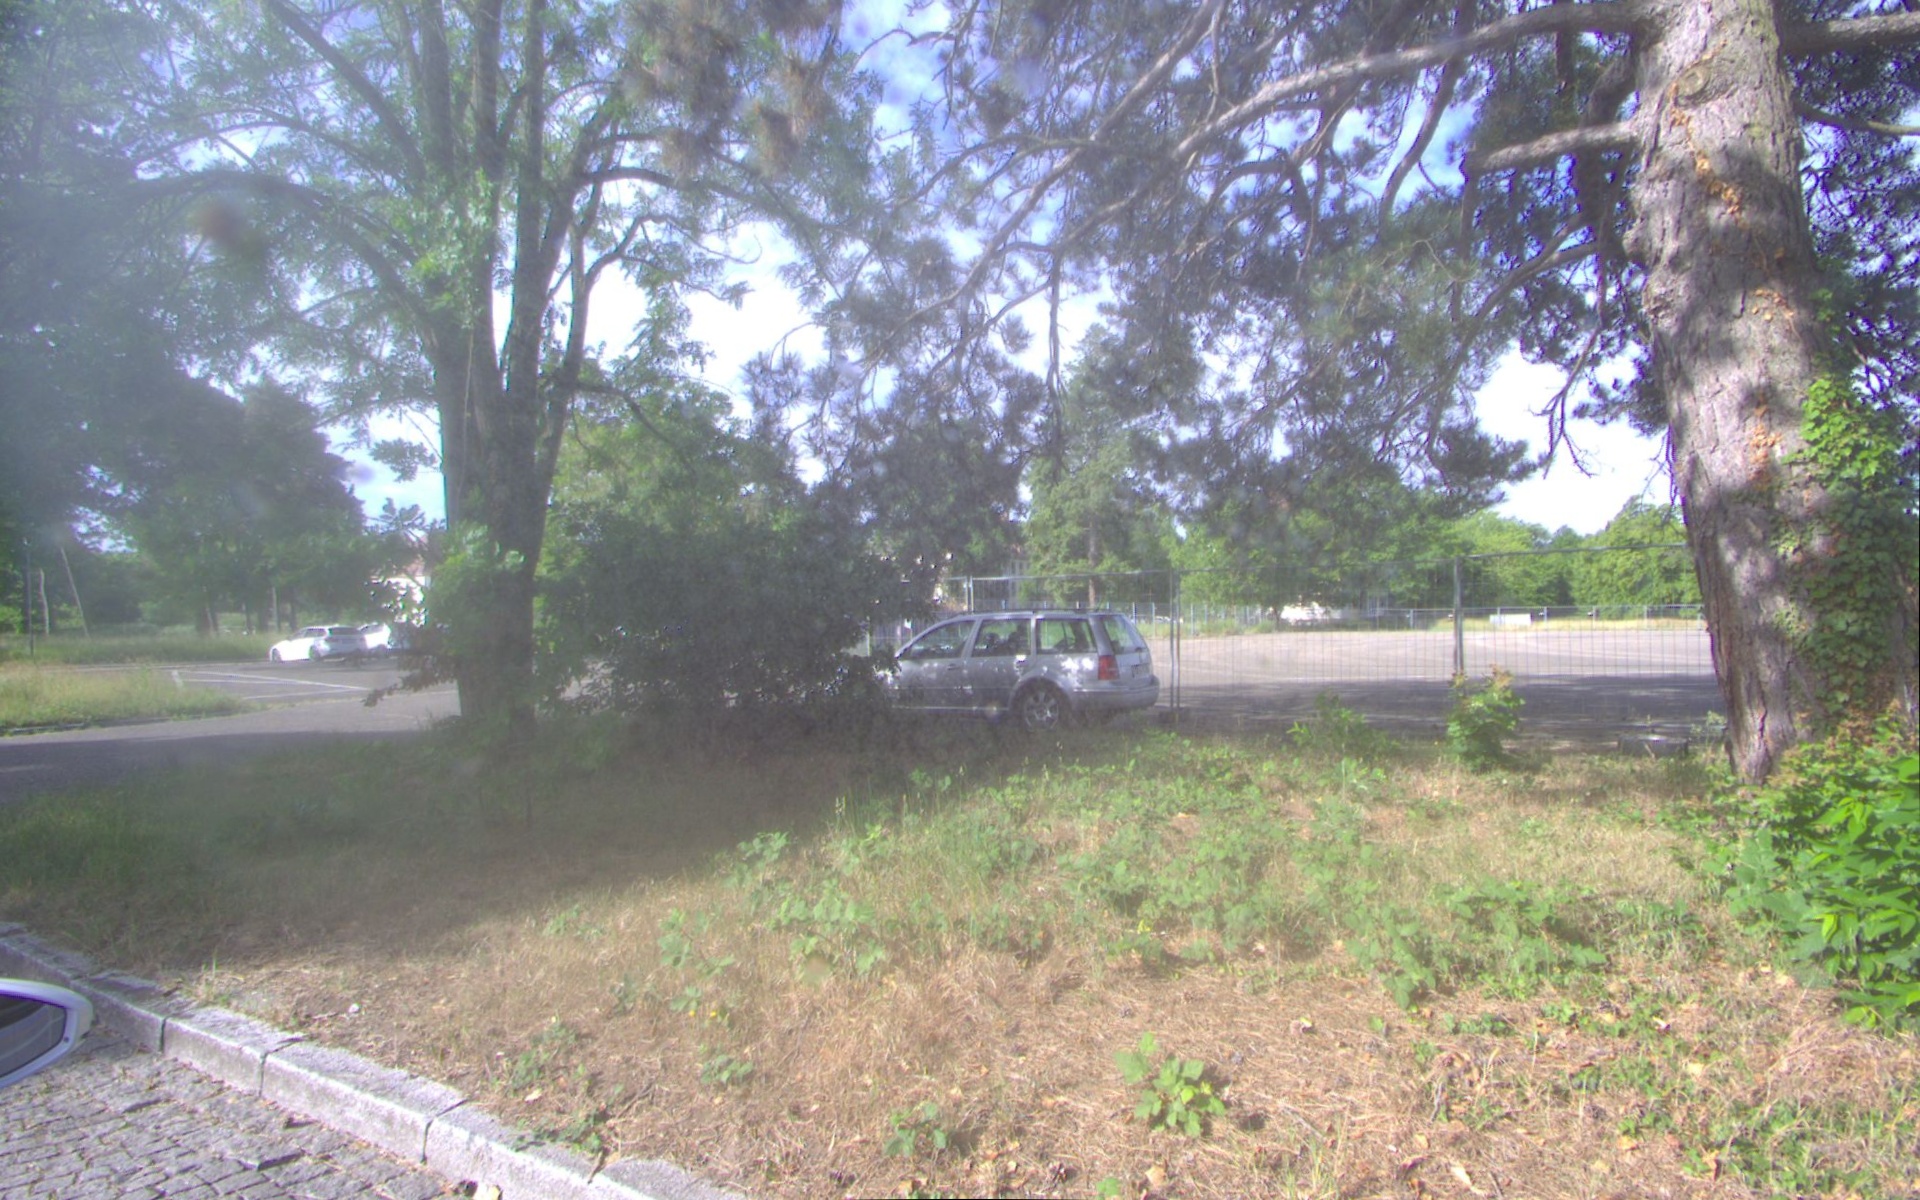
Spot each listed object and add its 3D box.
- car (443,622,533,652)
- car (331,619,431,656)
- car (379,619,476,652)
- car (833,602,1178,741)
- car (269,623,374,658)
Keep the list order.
[{"bbox_3d":[-22.481,1.760,47.667,4.265,1.329,1.729,-1,0,28],"label":"car"},{"bbox_3d":[-24.761,1.599,42.783,4.265,1.496,1.729,-1,-1,28],"label":"car"},{"bbox_3d":[-23.911,1.585,44.929,4.265,1.330,1.728,-1,2,28],"label":"car"},{"bbox_3d":[0.529,0.807,12.357,3.938,1.487,1.666,-1,-1,28],"label":"car"},{"bbox_3d":[-25.805,1.598,40.467,4.265,1.329,1.729,-1,-1,28],"label":"car"}]
